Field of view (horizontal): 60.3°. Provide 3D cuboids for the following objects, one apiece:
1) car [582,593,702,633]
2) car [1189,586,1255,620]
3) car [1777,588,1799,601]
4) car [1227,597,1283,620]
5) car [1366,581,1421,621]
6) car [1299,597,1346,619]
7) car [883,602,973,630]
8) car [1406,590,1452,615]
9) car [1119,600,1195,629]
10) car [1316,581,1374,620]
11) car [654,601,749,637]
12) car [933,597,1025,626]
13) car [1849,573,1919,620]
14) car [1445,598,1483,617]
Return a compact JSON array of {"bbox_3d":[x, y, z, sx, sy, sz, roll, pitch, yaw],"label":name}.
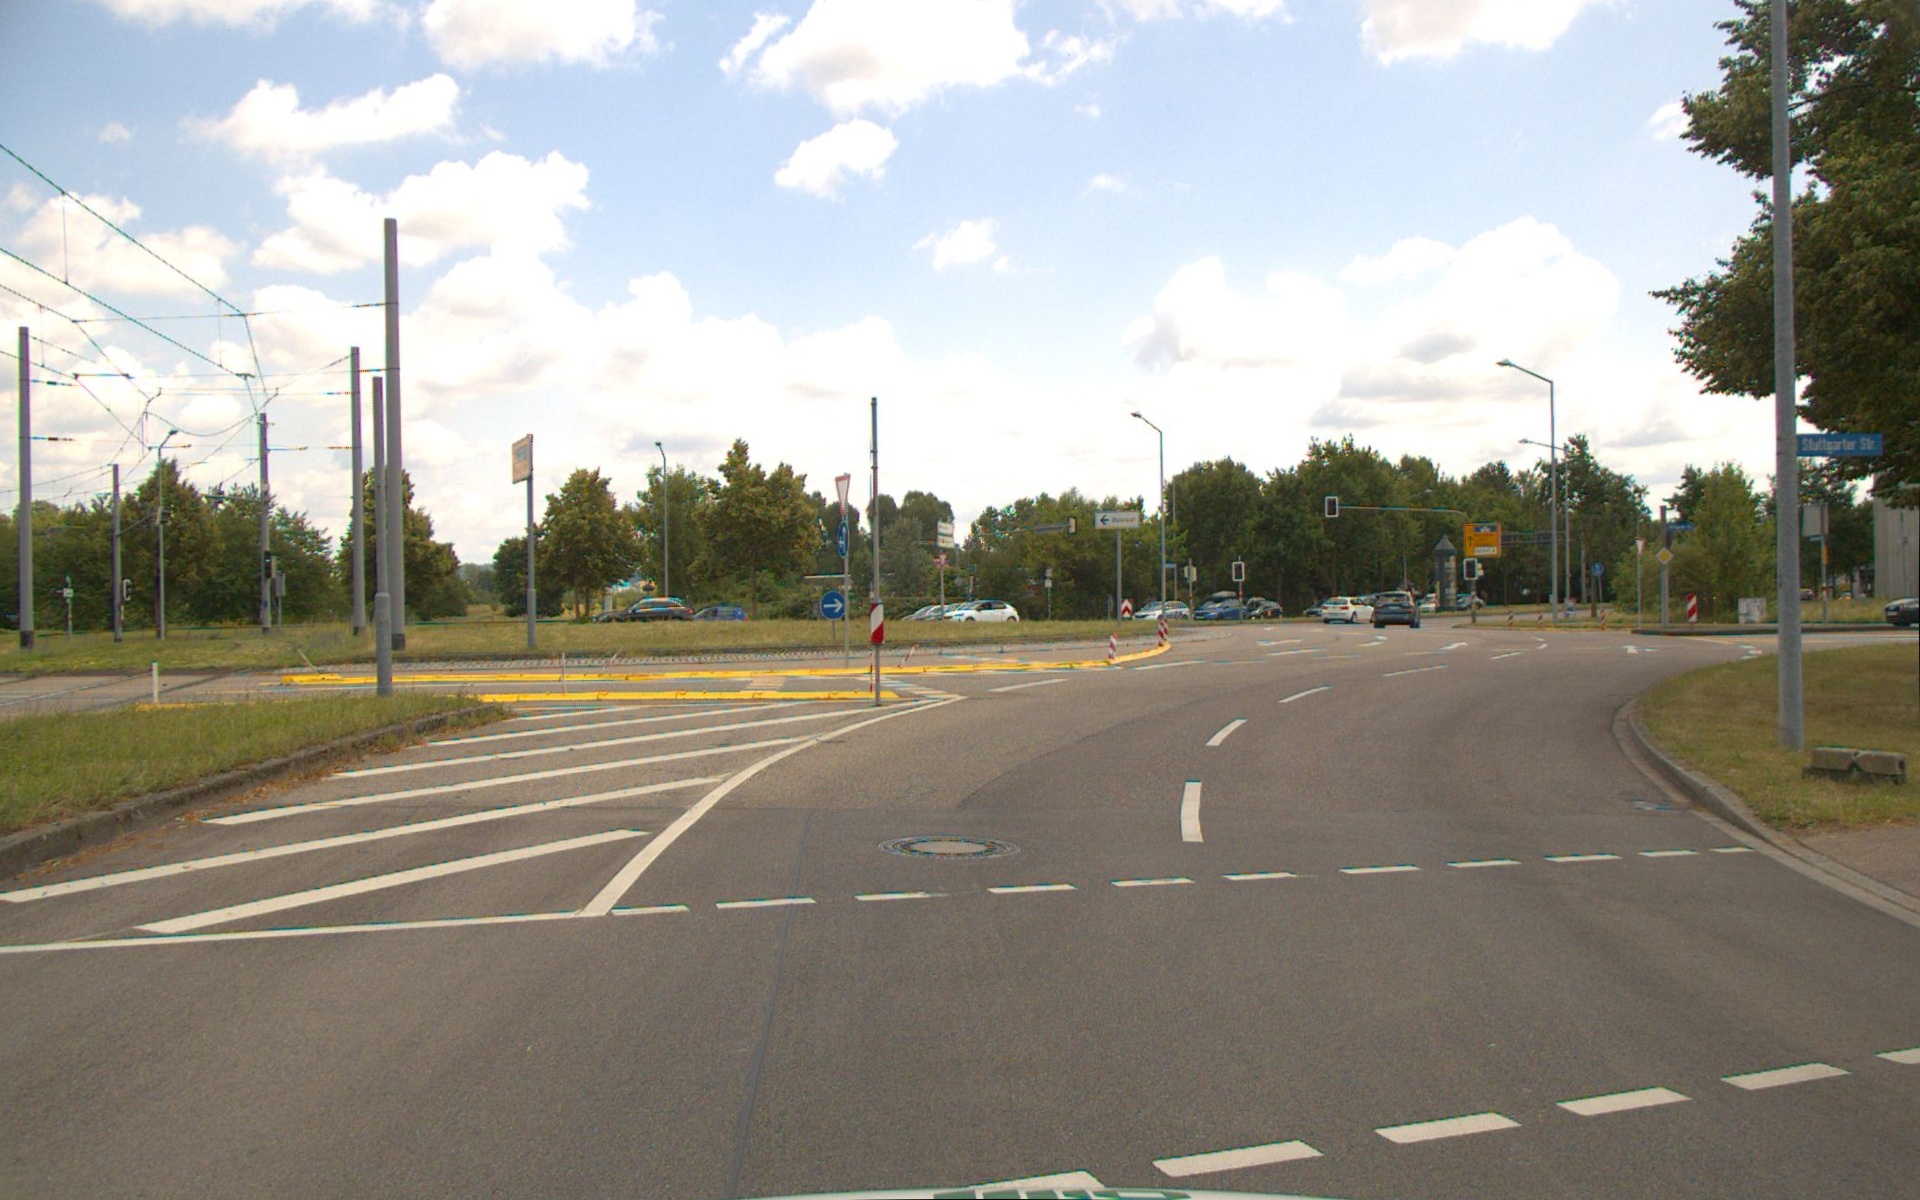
[{"bbox_3d":[-14.485,0.567,75.341,4.999,1.704,1.981,-1,0,-29],"label":"car"},{"bbox_3d":[15.108,0.166,95.344,1.724,1.830,4.384,-1,0,41],"label":"car"},{"bbox_3d":[102.721,-0.710,205.262,1.809,1.512,3.851,-1,0,37],"label":"car"},{"bbox_3d":[19.112,0.547,107.012,1.770,1.364,3.957,-3,-1,41],"label":"car"},{"bbox_3d":[19.735,0.038,75.155,1.952,1.654,4.311,-4,-1,20],"label":"car"},{"bbox_3d":[25.105,0.548,114.456,1.872,1.448,4.179,-1,0,33],"label":"car"},{"bbox_3d":[-1.639,0.820,85.330,4.447,1.346,1.927,-1,0,-39],"label":"car"},{"bbox_3d":[37.146,0.224,130.861,1.808,1.831,4.766,-4,-2,38],"label":"car"},{"bbox_3d":[11.546,0.846,96.740,2.089,1.548,4.475,-1,1,45],"label":"car"},{"bbox_3d":[21.235,0.009,91.154,1.957,2.049,3.991,-1,0,31],"label":"car"},{"bbox_3d":[-13.353,0.977,85.425,4.638,1.822,1.839,0,-1,-19],"label":"car"},{"bbox_3d":[0.964,0.567,81.957,4.263,1.353,1.975,-1,0,-36],"label":"car"},{"bbox_3d":[31.044,-0.126,53.300,3.906,1.489,1.689,0,0,-2],"label":"car"},{"bbox_3d":[41.306,0.623,135.550,1.810,1.512,3.851,1,0,37],"label":"car"}]
